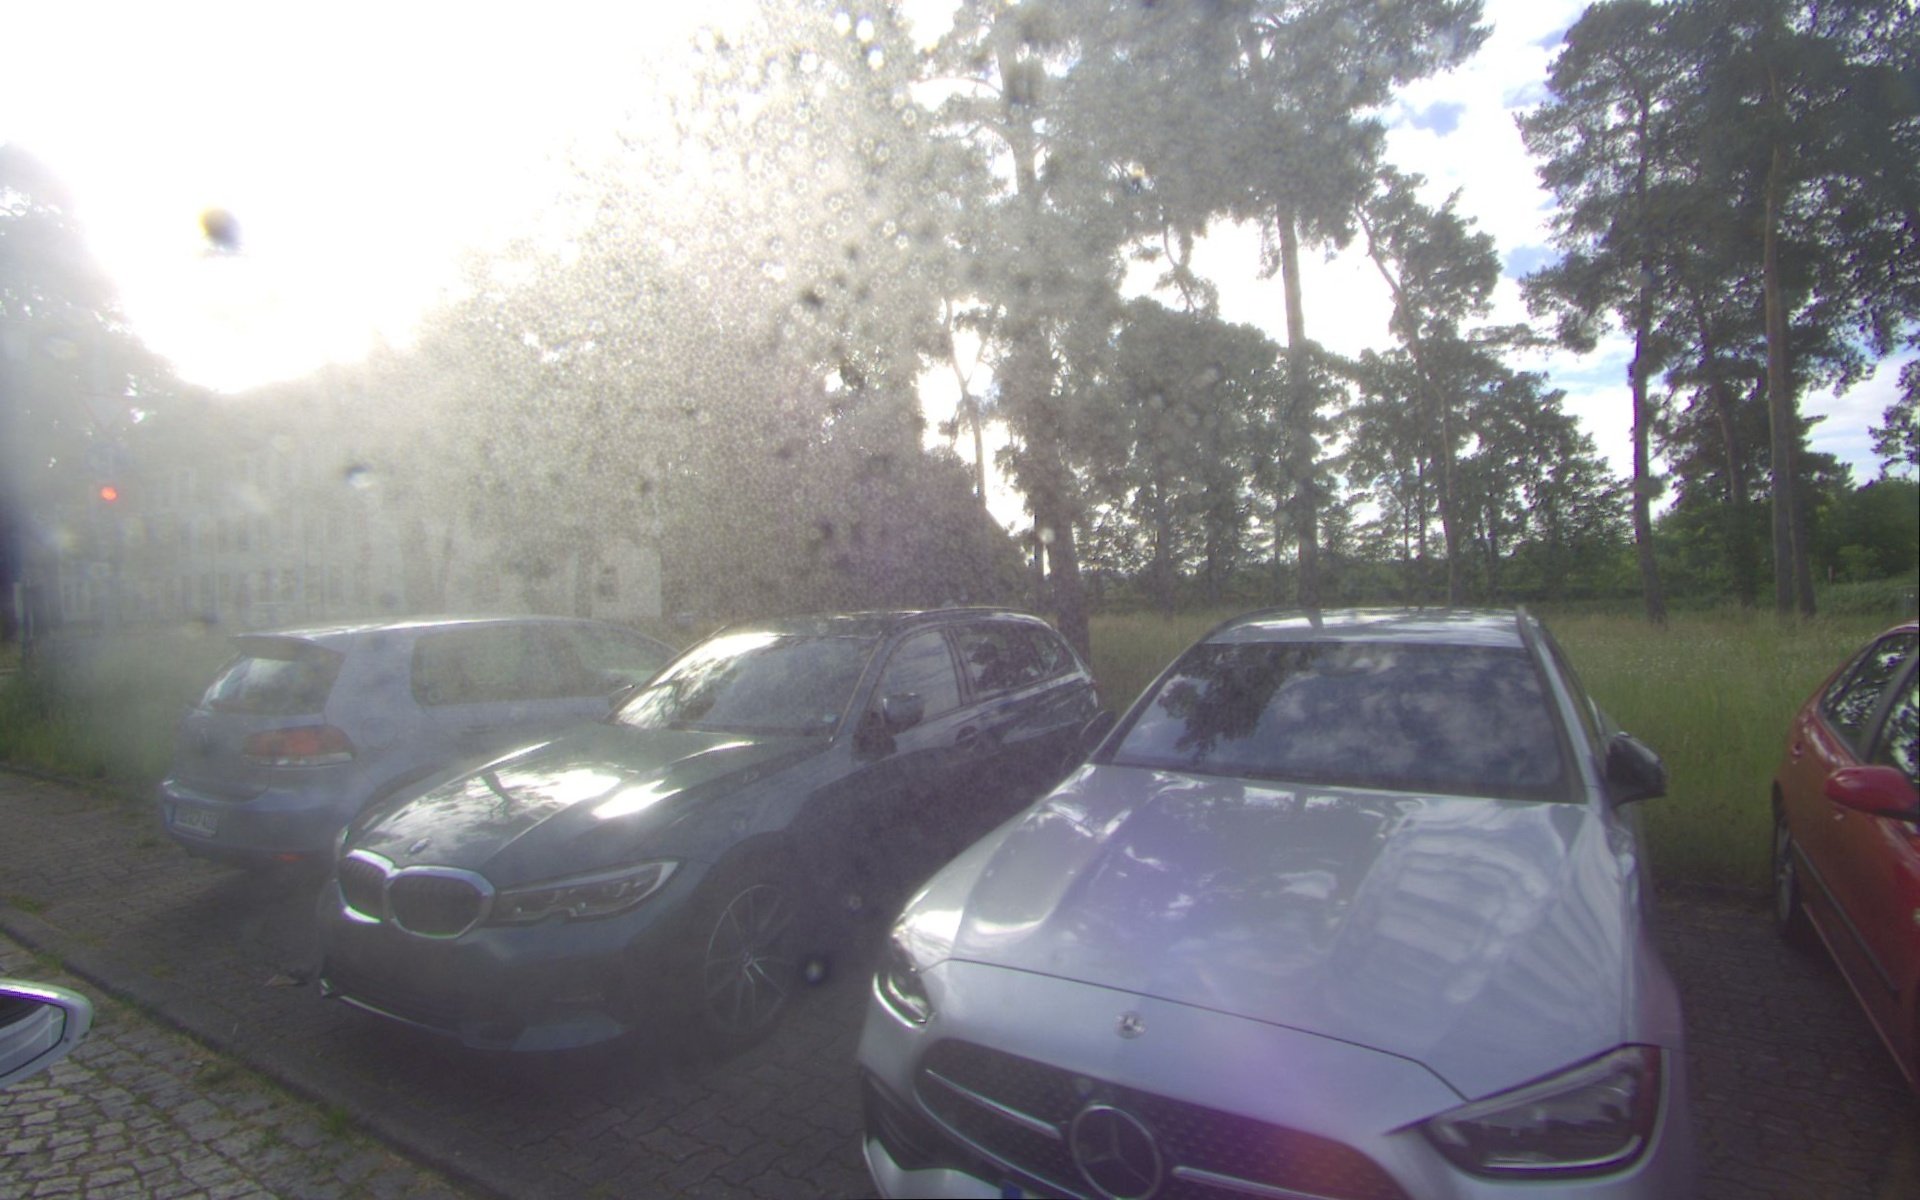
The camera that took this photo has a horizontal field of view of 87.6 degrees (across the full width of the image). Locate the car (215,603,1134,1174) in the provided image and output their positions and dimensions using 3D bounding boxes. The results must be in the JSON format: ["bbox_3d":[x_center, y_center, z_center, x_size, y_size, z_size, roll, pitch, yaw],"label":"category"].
[{"bbox_3d":[-0.759,0.783,5.071,1.781,1.503,4.506,0,0,30],"label":"car"}]

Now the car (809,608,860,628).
[{"bbox_3d":[-9.209,1.352,73.920,1.541,1.416,3.980,-1,-2,33],"label":"car"}]

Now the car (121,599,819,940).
[{"bbox_3d":[-2.796,0.772,6.574,1.618,1.490,3.834,0,1,32],"label":"car"}]

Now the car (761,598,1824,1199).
[{"bbox_3d":[1.449,0.757,3.532,1.741,1.448,4.316,0,1,32],"label":"car"}]

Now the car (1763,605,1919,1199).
[{"bbox_3d":[3.459,0.743,2.658,1.696,1.442,4.097,0,0,34],"label":"car"}]

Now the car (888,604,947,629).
[{"bbox_3d":[-2.933,1.126,68.431,3.922,1.622,1.999,-1,0,-4],"label":"car"}]
